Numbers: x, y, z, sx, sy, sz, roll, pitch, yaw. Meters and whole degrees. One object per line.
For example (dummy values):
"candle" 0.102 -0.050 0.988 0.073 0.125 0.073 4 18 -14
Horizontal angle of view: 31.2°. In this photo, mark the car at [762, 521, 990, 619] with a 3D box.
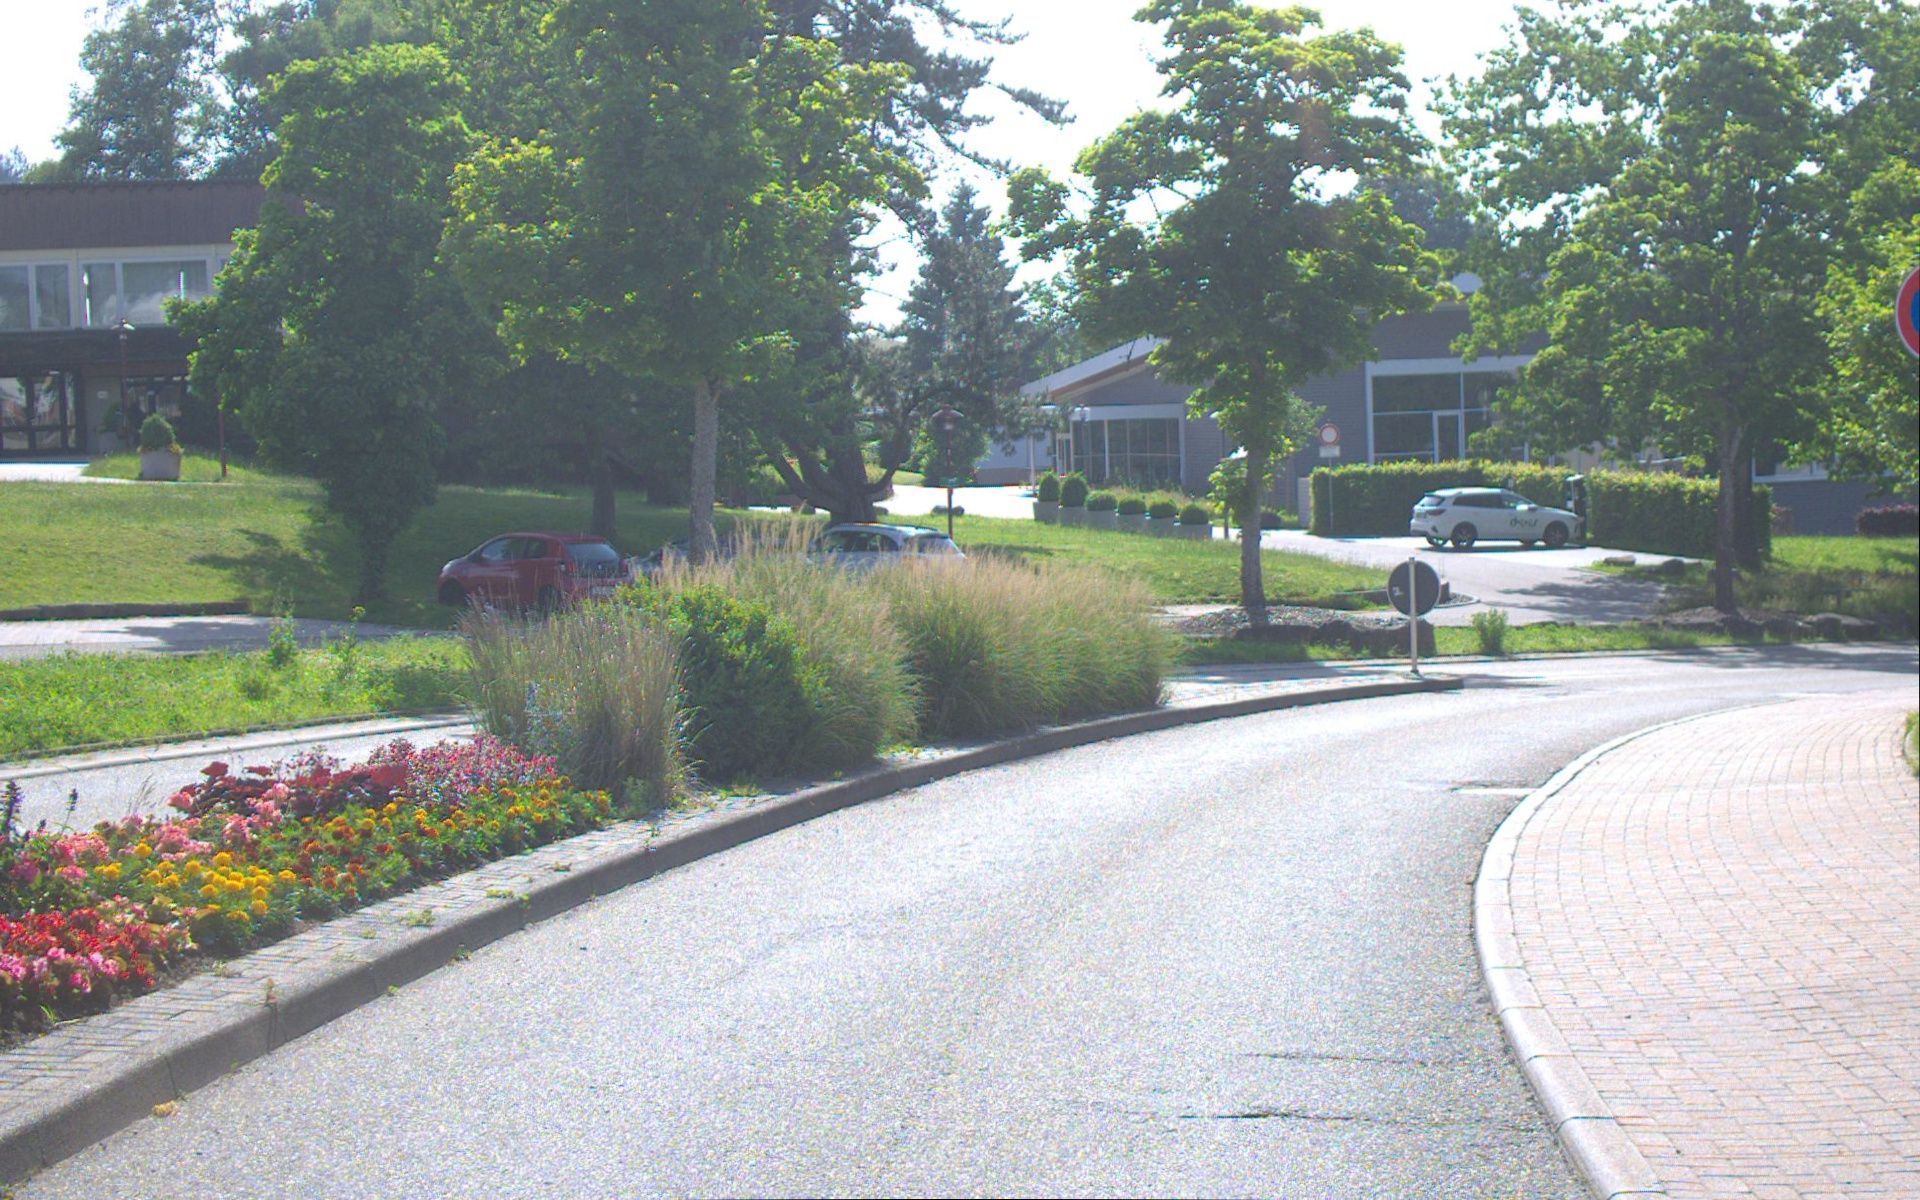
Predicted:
"car" -1.545 -0.561 62.553 3.938 1.603 1.772 3 2 41

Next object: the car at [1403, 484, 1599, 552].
"car" 14.370 -2.203 91.443 4.713 1.528 2.001 -2 6 -16

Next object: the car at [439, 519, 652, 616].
"car" -6.911 -0.551 57.279 3.205 1.465 1.772 3 2 40

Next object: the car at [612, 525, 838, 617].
"car" -4.088 -0.514 59.601 3.711 1.428 1.772 4 2 41
